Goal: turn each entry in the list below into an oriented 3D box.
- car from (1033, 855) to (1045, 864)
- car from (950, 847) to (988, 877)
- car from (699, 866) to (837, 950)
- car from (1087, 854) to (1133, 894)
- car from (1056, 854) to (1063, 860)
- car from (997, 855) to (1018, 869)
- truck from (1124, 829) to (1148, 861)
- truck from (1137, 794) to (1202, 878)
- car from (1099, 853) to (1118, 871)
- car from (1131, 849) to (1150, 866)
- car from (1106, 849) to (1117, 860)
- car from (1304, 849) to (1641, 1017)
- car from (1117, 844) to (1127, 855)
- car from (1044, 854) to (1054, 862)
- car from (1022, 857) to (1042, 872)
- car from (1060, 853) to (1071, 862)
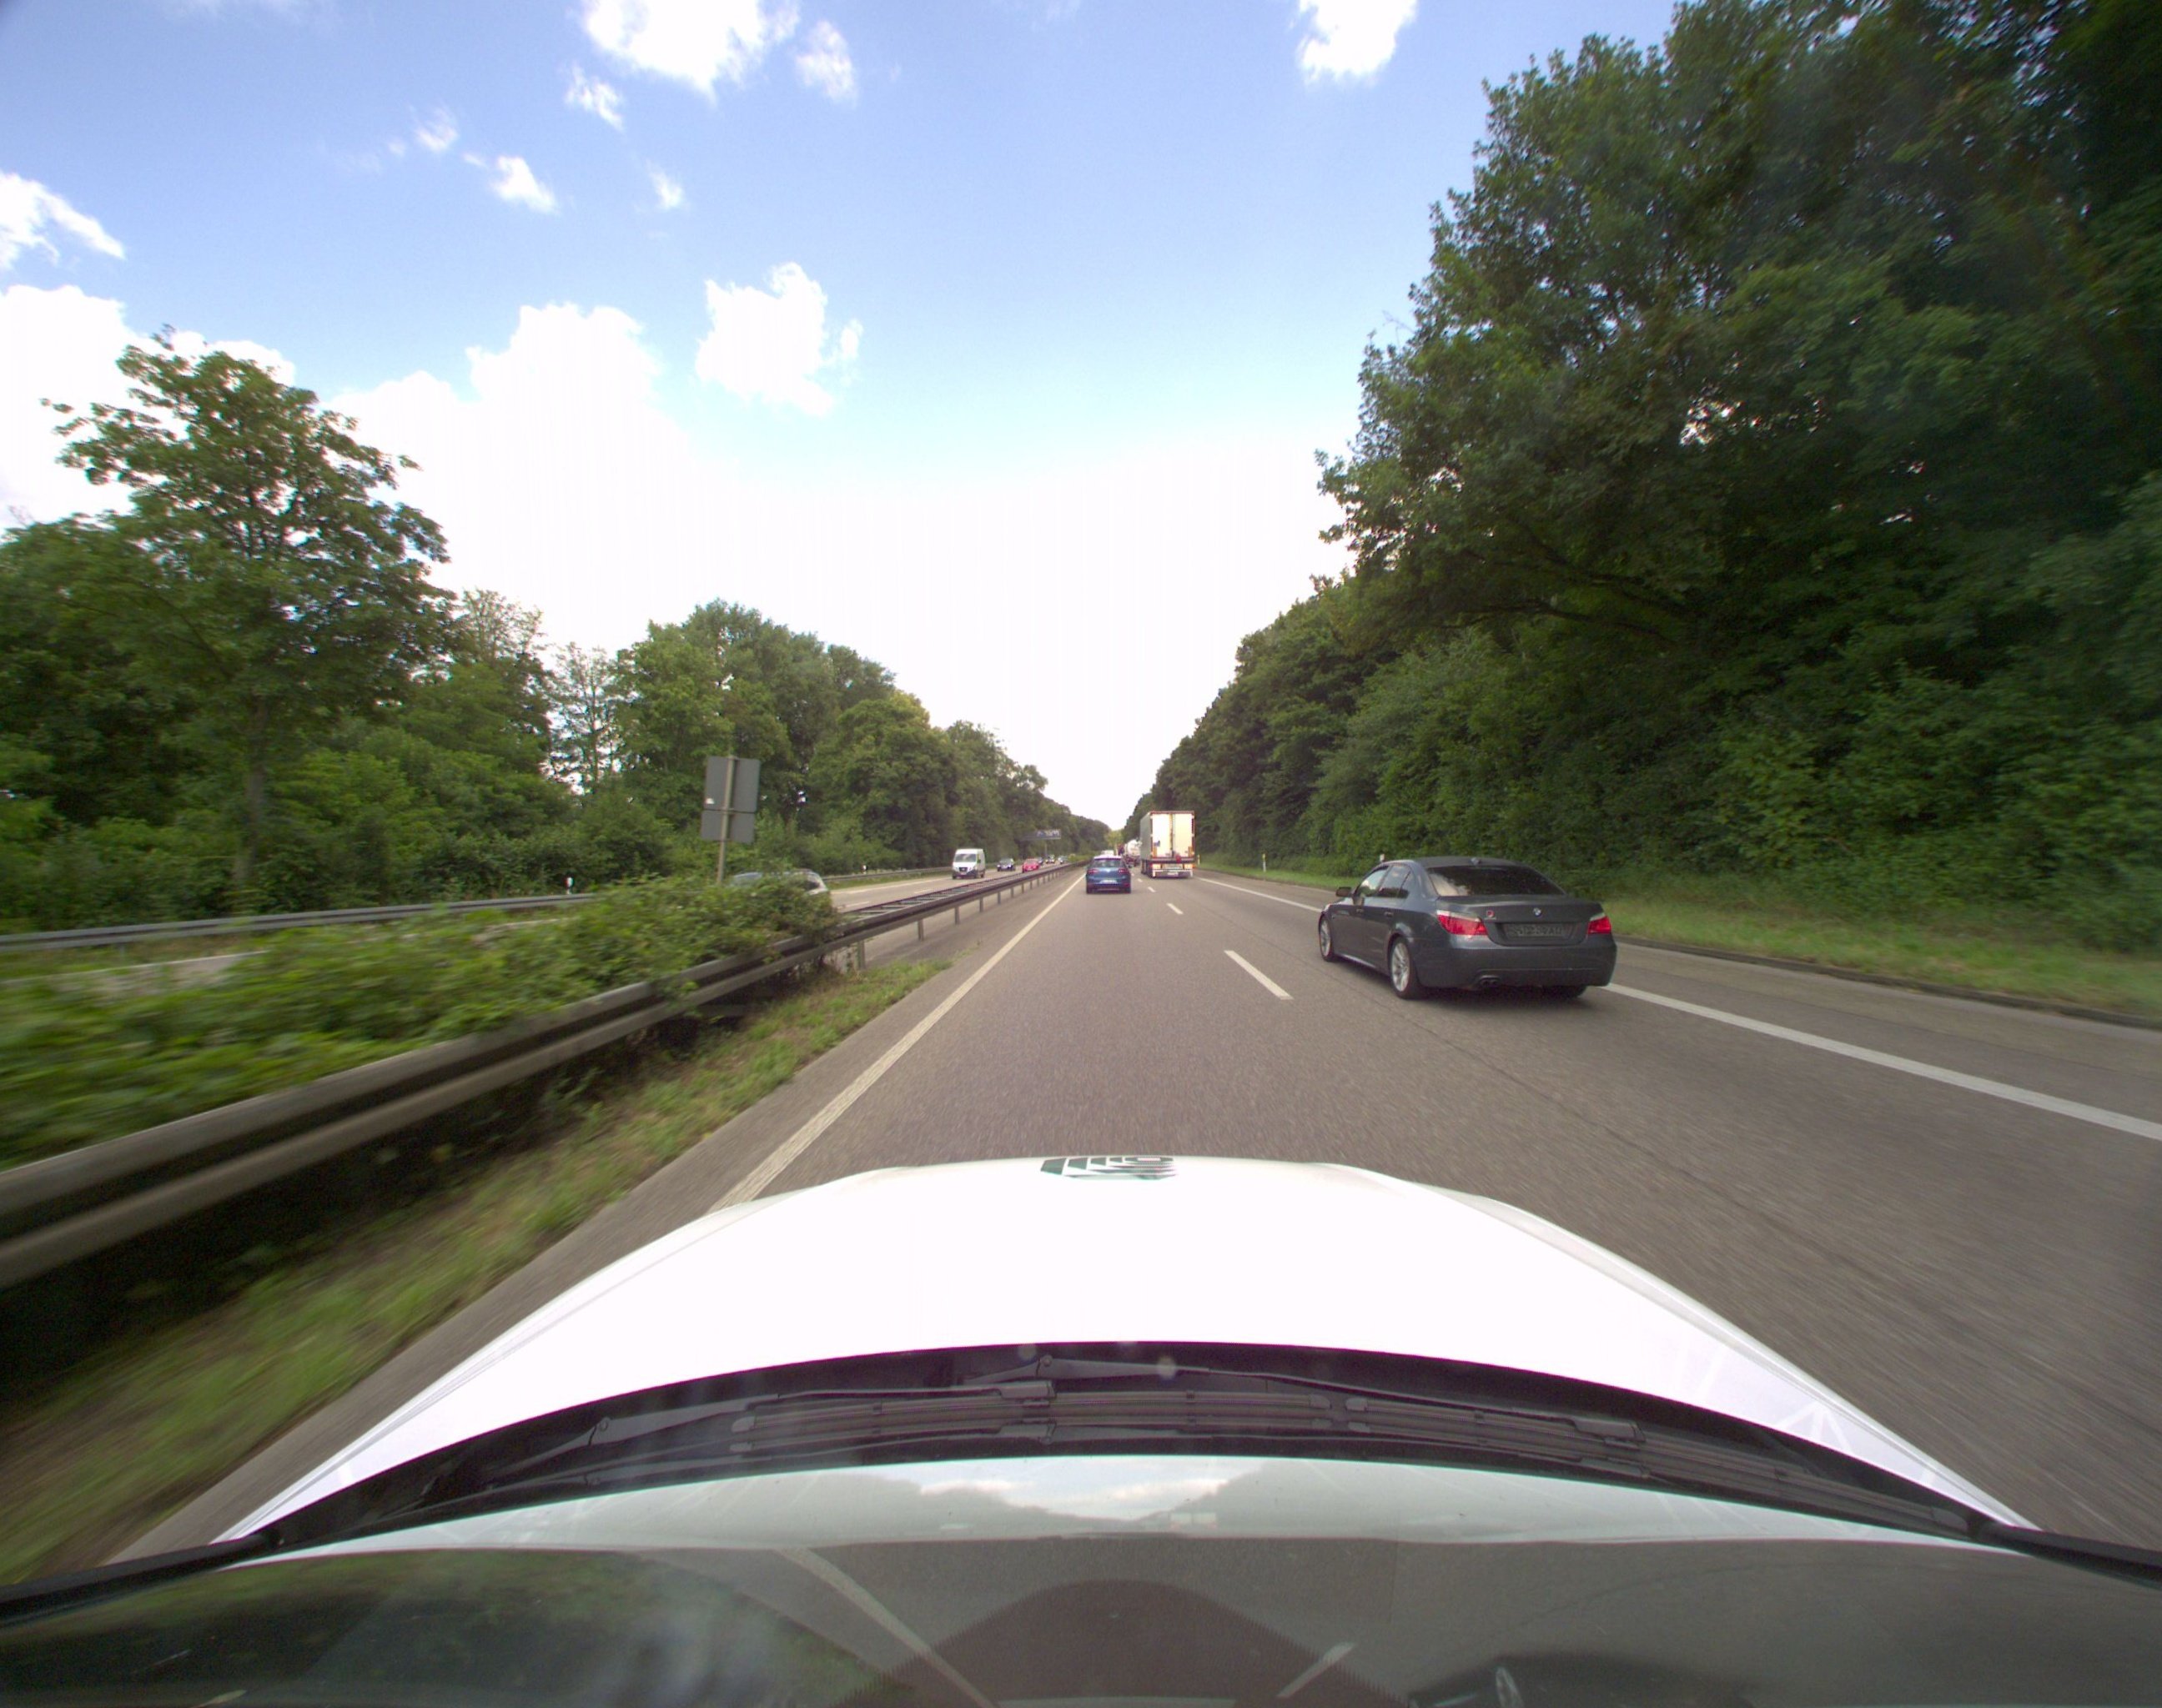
[{"bbox_3d":[-7.234,0.935,140.394,1.673,1.519,4.860,-2,0,1],"label":"car"},{"bbox_3d":[-9.223,0.630,67.592,2.102,2.423,5.835,-1,0,3],"label":"car"},{"bbox_3d":[-6.881,1.119,18.290,1.579,1.608,3.534,-2,0,2],"label":"car"},{"bbox_3d":[1.140,0.744,32.607,1.699,1.470,4.001,-1,0,1],"label":"car"},{"bbox_3d":[-5.829,0.769,219.527,1.531,1.396,3.512,-2,0,1],"label":"car"},{"bbox_3d":[-8.701,0.888,96.598,1.778,1.478,4.573,-5,0,3],"label":"car"},{"bbox_3d":[8.040,-1.200,120.218,3.219,4.386,12.977,-1,-1,2],"label":"truck"},{"bbox_3d":[5.474,-1.055,52.372,3.230,4.716,11.011,-2,0,2],"label":"truck"},{"bbox_3d":[2.426,0.677,71.458,1.659,1.500,4.154,-1,0,2],"label":"car"},{"bbox_3d":[6.690,0.382,92.106,1.881,1.729,4.002,-2,0,2],"label":"car"},{"bbox_3d":[6.366,0.131,171.752,1.987,2.255,4.441,-2,0,-1],"label":"car"},{"bbox_3d":[4.141,0.696,9.668,1.768,1.475,4.882,-1,0,2],"label":"car"},{"bbox_3d":[8.990,-1.036,178.341,1.987,2.327,4.441,-2,0,-1],"label":"car"},{"bbox_3d":[-6.694,0.786,169.512,1.753,1.593,4.635,-2,0,1],"label":"car"},{"bbox_3d":[-5.119,1.068,85.345,1.671,1.454,4.130,-1,0,3],"label":"car"},{"bbox_3d":[-2.799,0.650,147.249,1.774,1.519,4.267,-2,0,1],"label":"car"}]
